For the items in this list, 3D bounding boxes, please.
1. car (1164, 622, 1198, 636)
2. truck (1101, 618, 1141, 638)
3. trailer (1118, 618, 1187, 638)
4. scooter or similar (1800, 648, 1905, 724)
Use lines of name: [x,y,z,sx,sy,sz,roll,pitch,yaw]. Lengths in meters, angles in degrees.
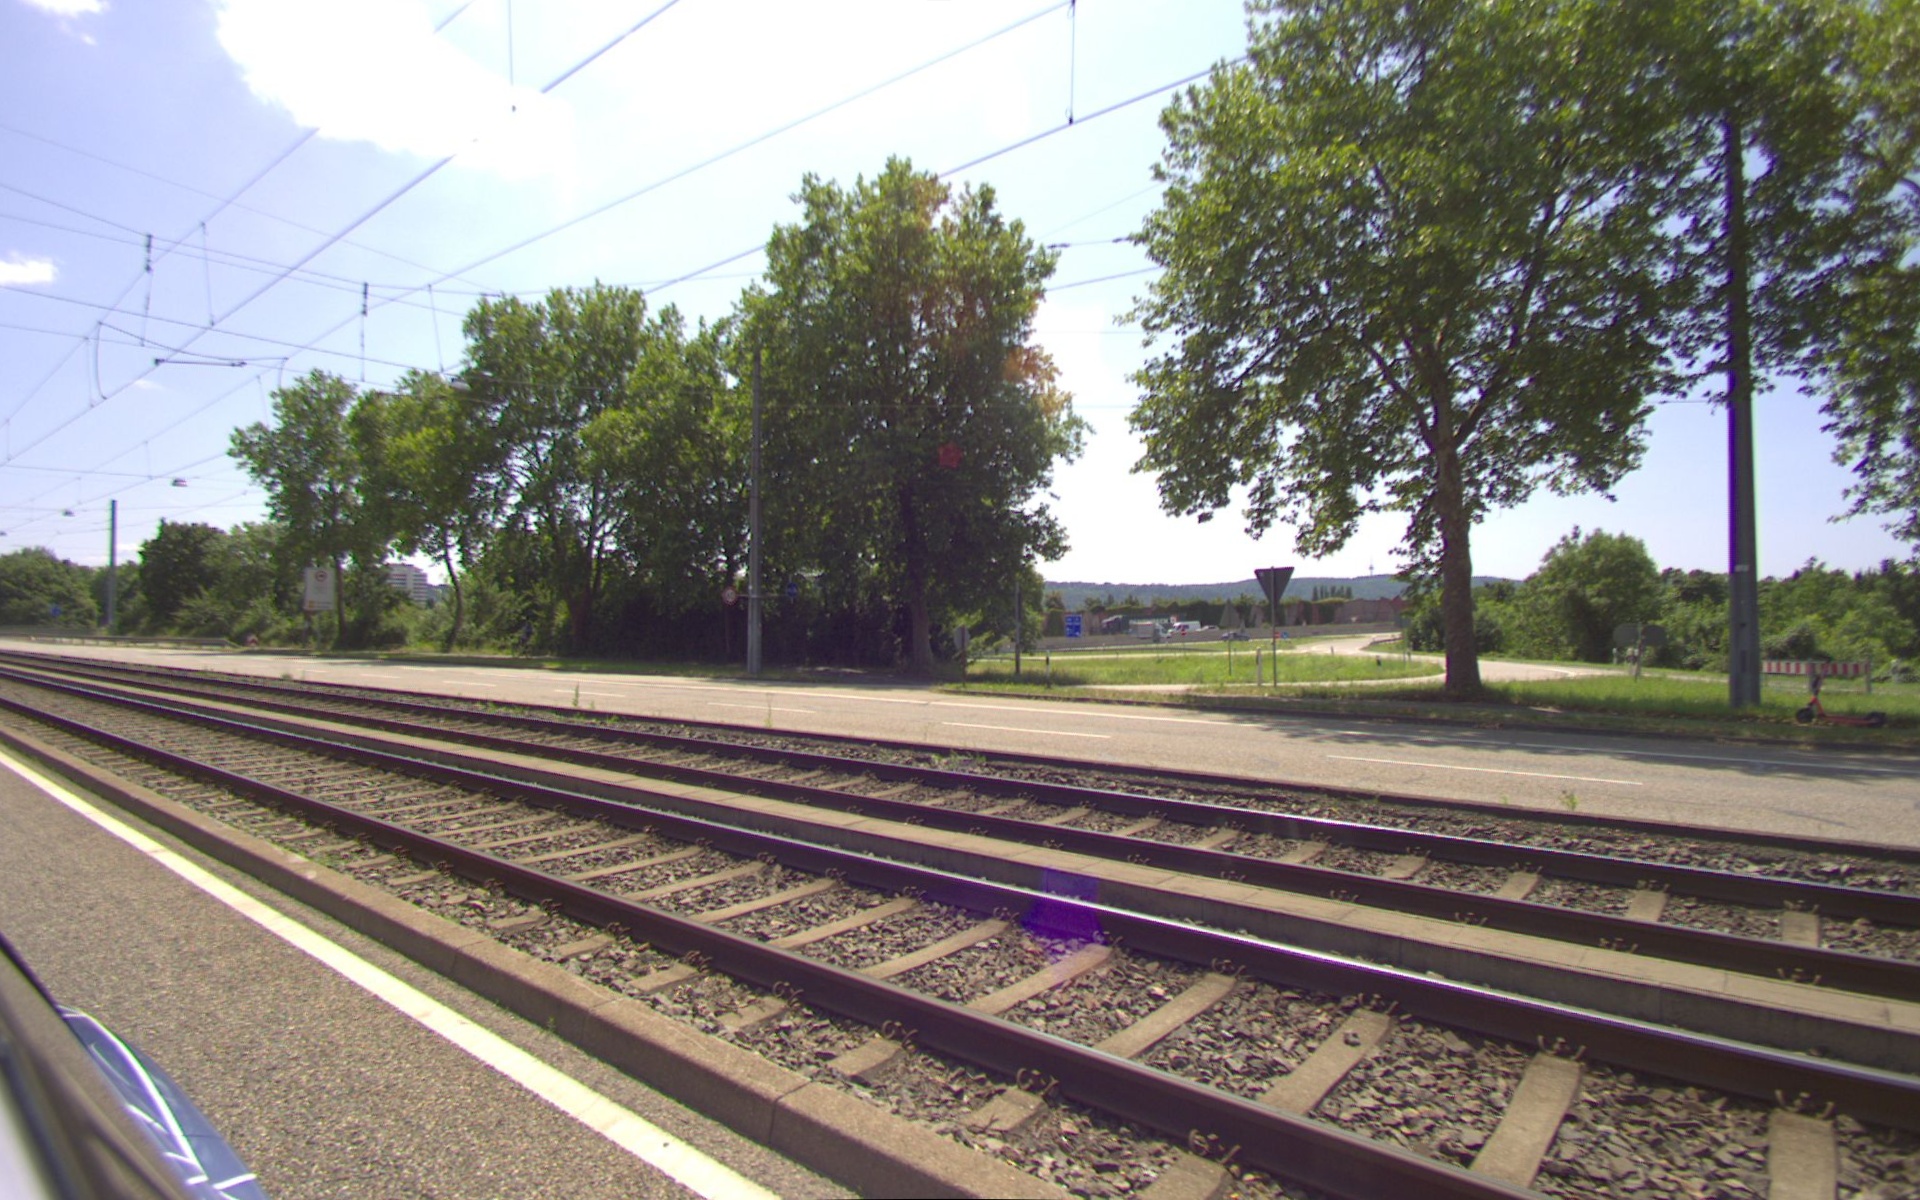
car: [38.838,5.097,177.605,5.475,2.524,2.229,0,-2,-20]
truck: [28.376,4.952,178.505,6.035,3.408,3.340,0,-2,-20]
trailer: [34.353,4.982,180.603,12.166,3.466,3.348,0,-2,-20]
scooter or similar: [14.564,1.382,16.547,1.233,1.159,0.456,-1,-1,39]
